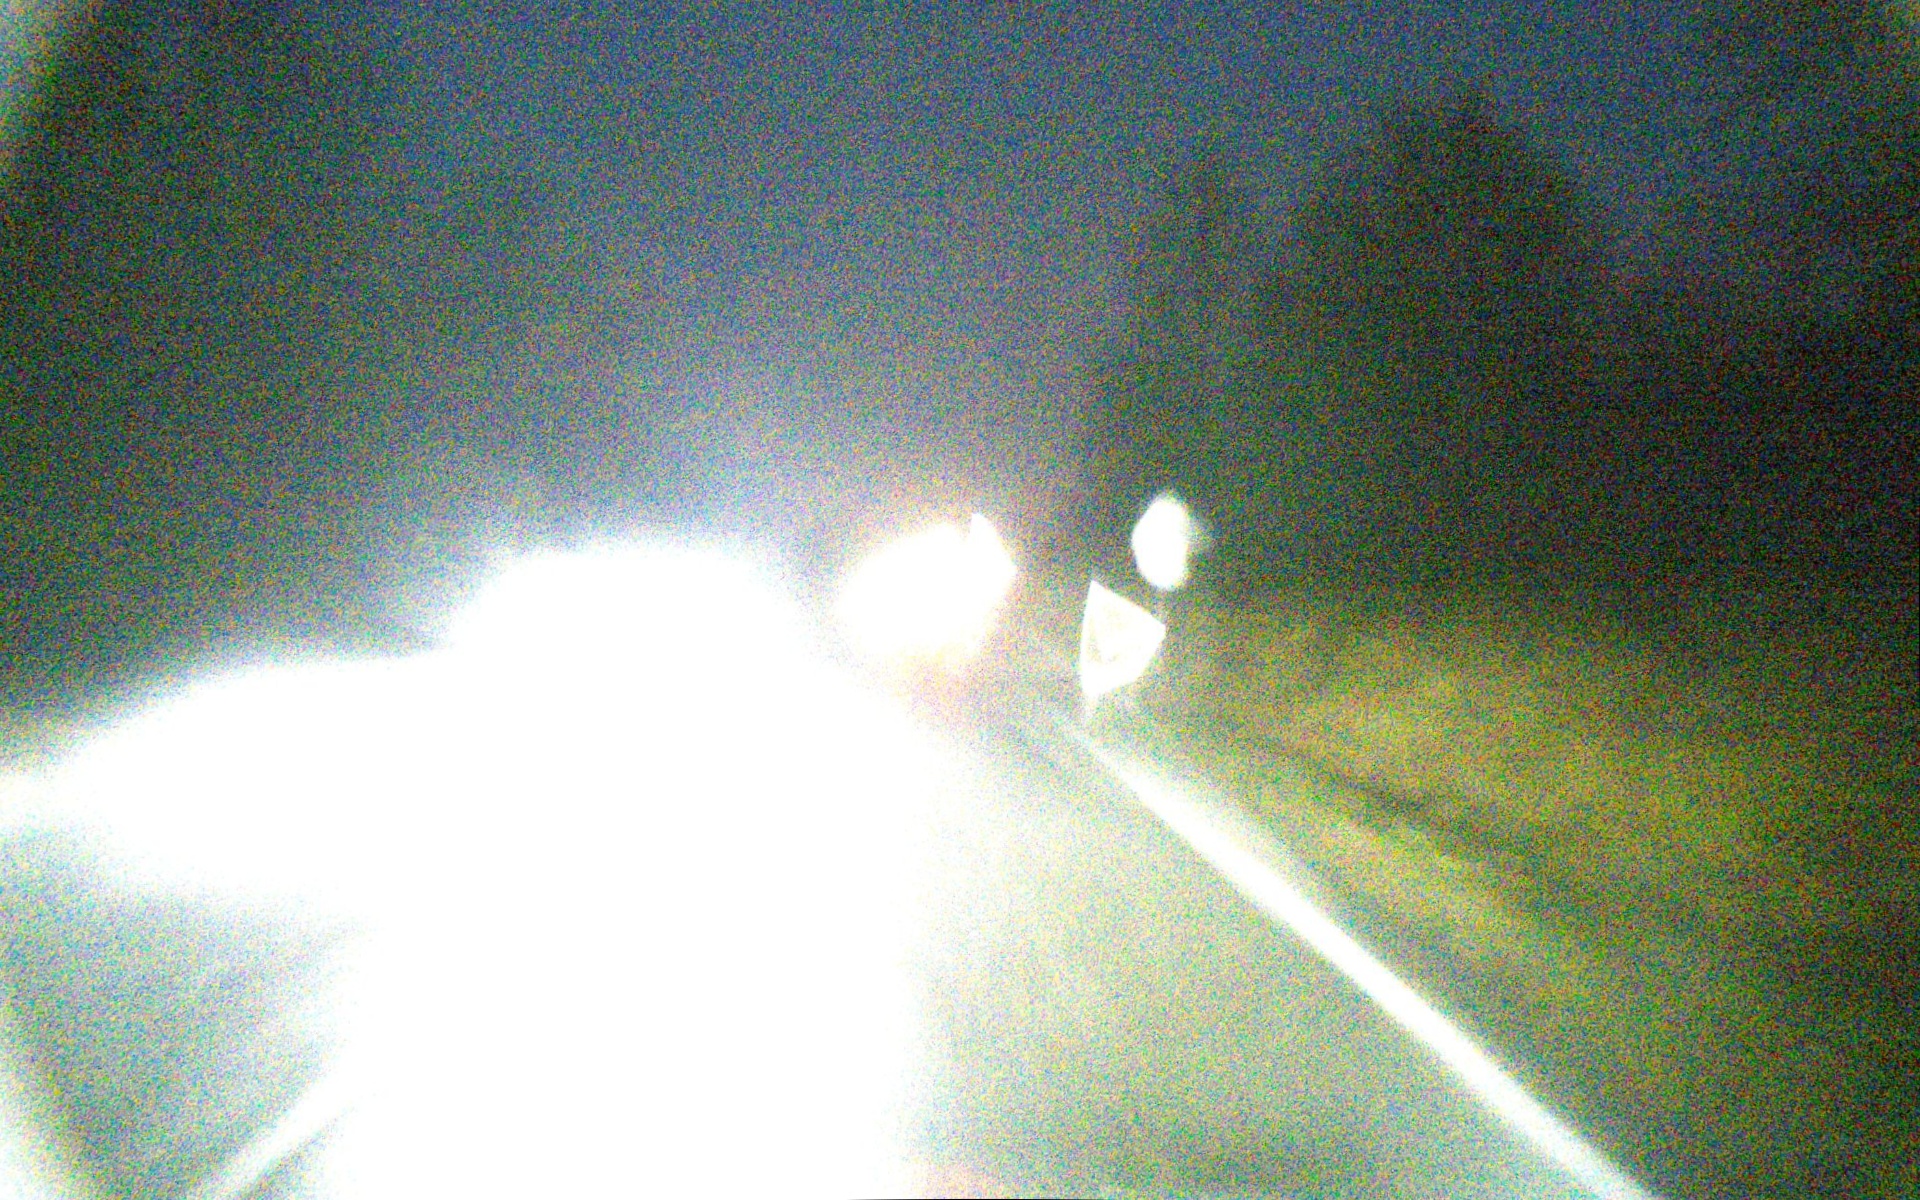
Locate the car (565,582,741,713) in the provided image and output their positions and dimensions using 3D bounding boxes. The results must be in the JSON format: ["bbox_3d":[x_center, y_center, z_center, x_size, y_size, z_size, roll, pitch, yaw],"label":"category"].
[{"bbox_3d":[-4.459,0.665,24.610,1.907,1.758,3.999,1,0,-1],"label":"car"}]

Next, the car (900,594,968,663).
[{"bbox_3d":[-0.760,0.769,47.065,1.805,1.770,3.999,2,1,-2],"label":"car"}]
